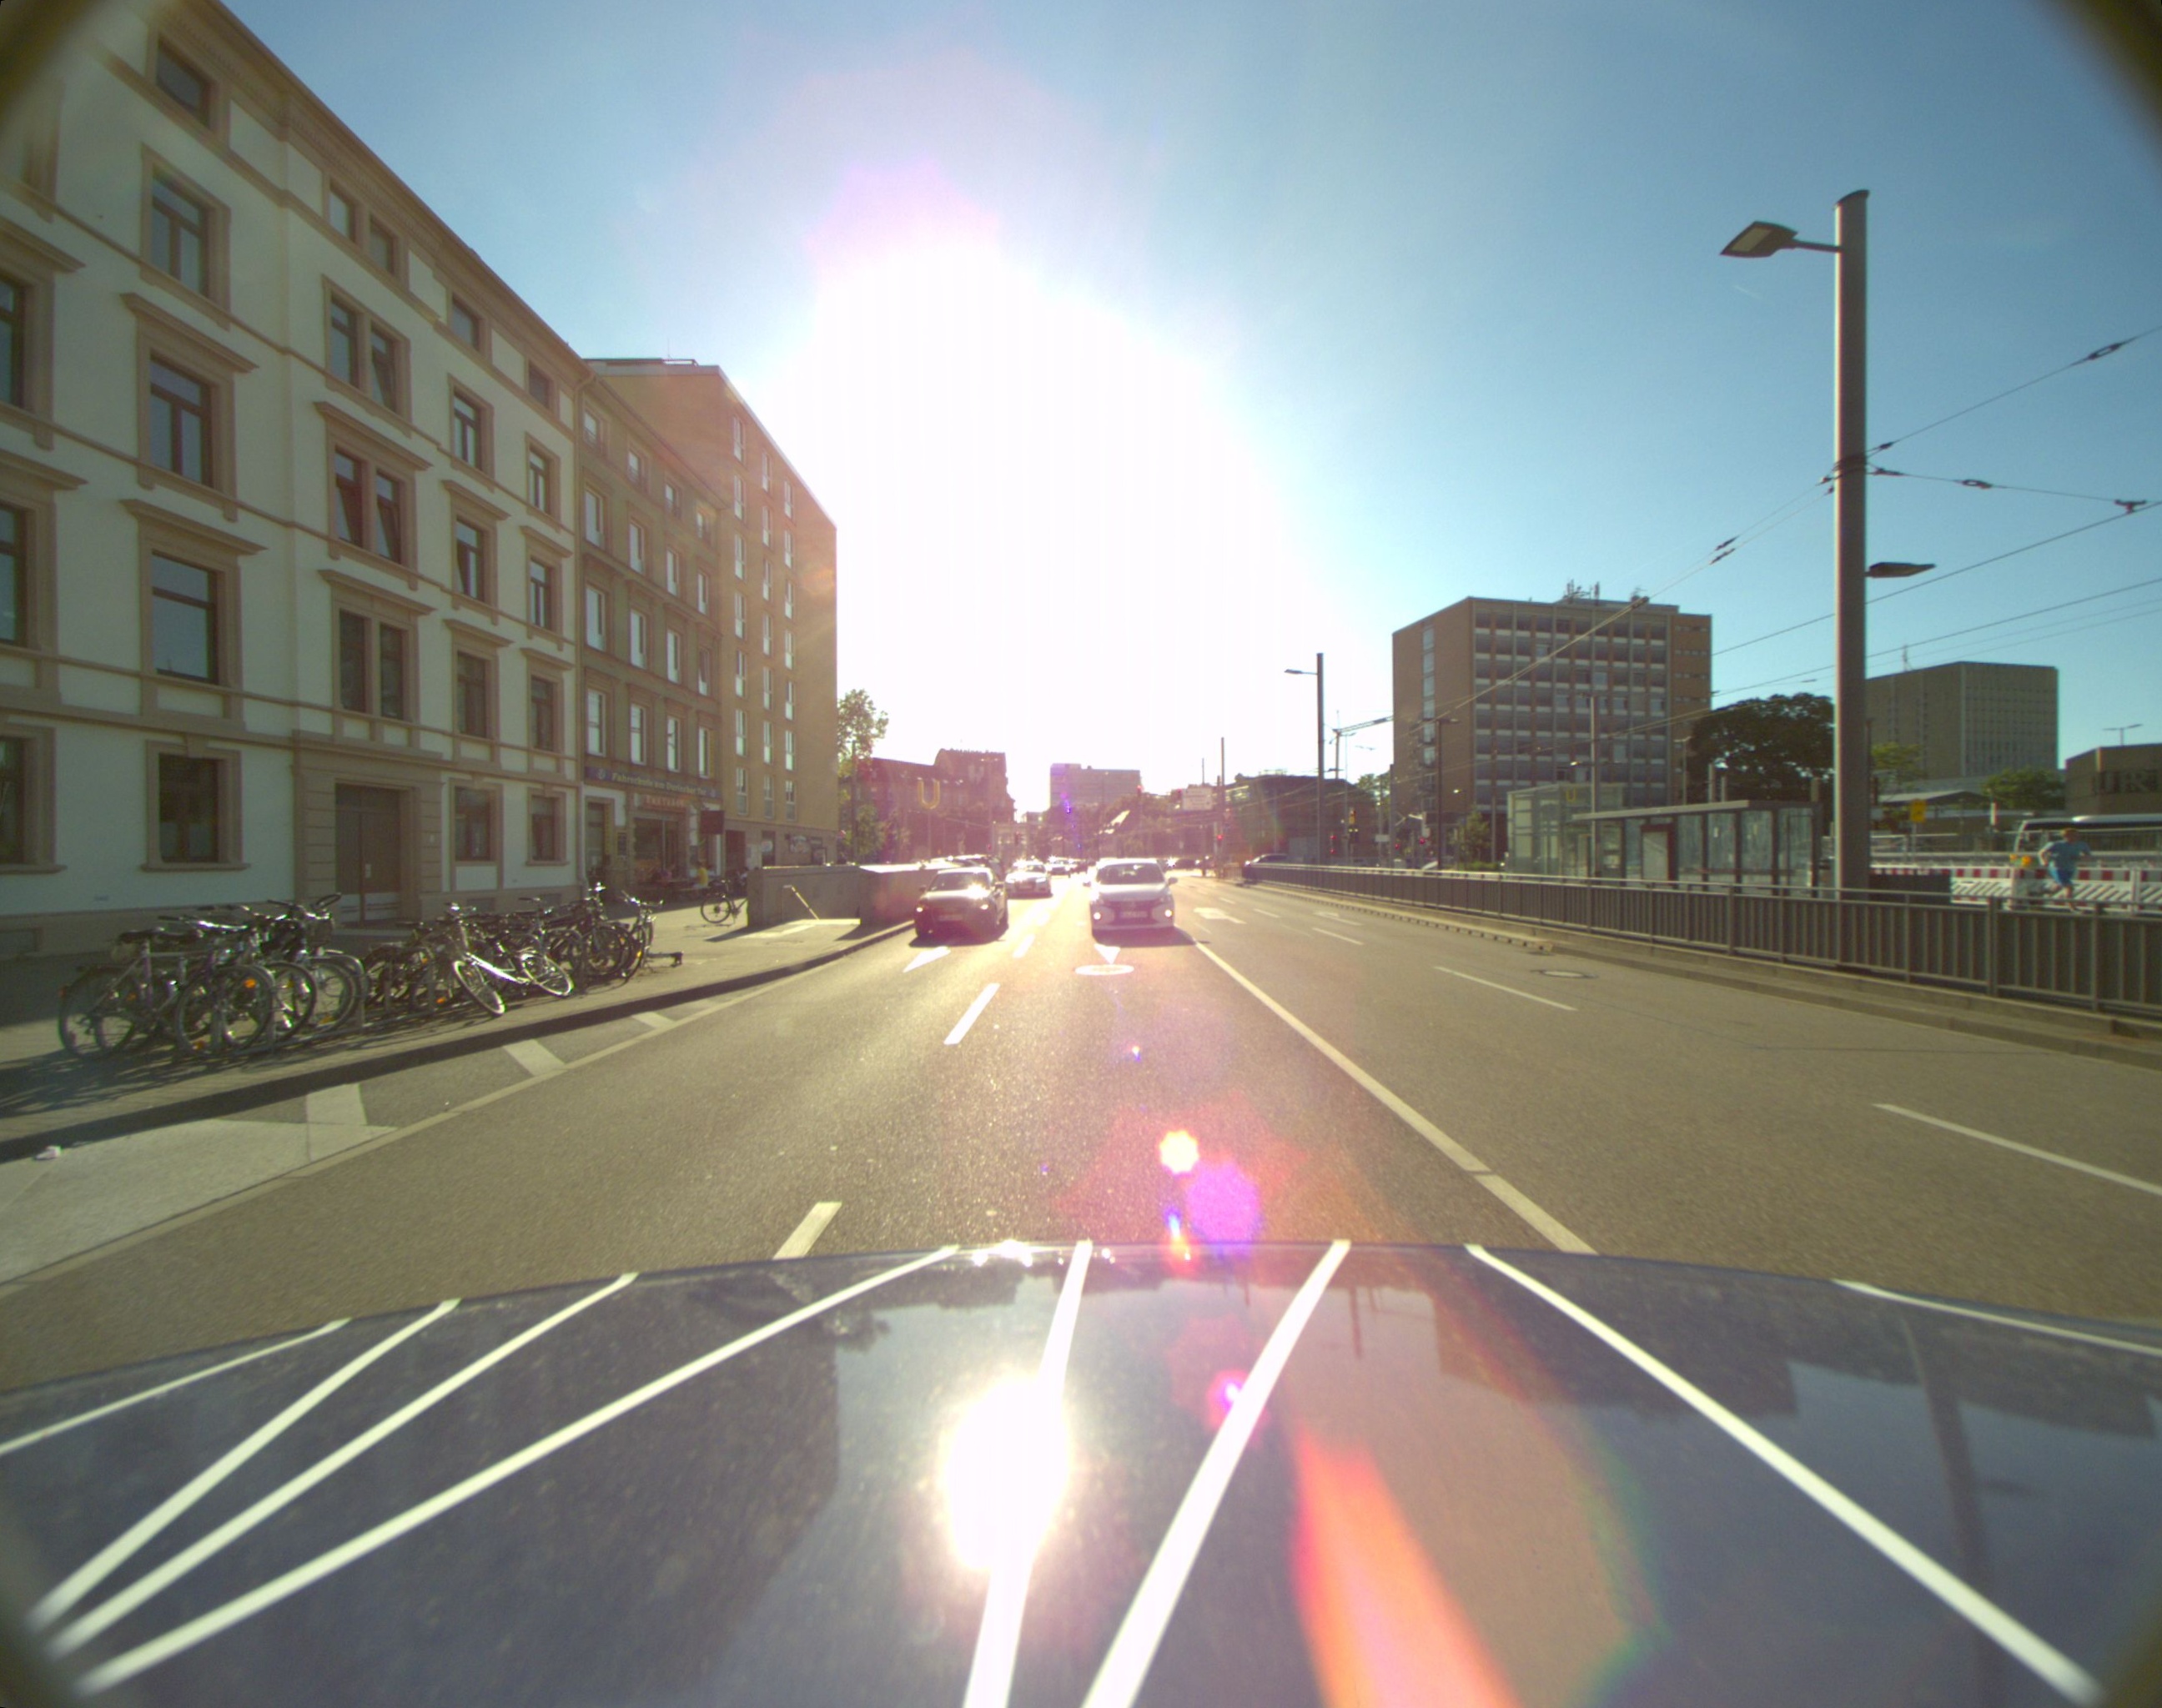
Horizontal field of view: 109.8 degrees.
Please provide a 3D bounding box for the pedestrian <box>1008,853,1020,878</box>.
[{"bbox_3d":[-4.663,0.788,52.579,0.698,1.718,0.752,-1,0,-15],"label":"pedestrian"}]

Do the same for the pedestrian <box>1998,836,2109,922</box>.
[{"bbox_3d":[20.658,0.532,16.171,0.804,1.757,1.180,1,-2,1],"label":"pedestrian"}]

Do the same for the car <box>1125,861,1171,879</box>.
[{"bbox_3d":[6.606,1.564,74.772,4.292,1.666,1.994,-1,0,-40],"label":"car"}]

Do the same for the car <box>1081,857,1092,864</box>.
[{"bbox_3d":[1.260,1.604,183.569,1.757,1.455,4.016,-1,-2,-12],"label":"car"}]

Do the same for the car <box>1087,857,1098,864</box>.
[{"bbox_3d":[2.641,1.483,177.850,1.757,1.455,4.016,-1,-2,-12],"label":"car"}]

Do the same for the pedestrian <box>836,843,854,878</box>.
[{"bbox_3d":[-12.535,0.347,40.322,0.754,1.855,0.830,-1,1,-29],"label":"pedestrian"}]

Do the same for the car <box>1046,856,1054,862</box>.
[{"bbox_3d":[-9.460,1.566,234.779,1.757,1.455,4.016,-1,-2,-12],"label":"car"}]

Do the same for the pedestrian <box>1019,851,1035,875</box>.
[{"bbox_3d":[-3.958,0.666,55.748,0.796,1.718,0.868,-1,0,-31],"label":"pedestrian"}]

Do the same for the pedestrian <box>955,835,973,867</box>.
[{"bbox_3d":[-6.777,-0.177,44.043,0.755,1.855,0.696,-1,1,-41],"label":"pedestrian"}]

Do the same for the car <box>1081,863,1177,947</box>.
[{"bbox_3d":[0.964,0.975,16.054,1.720,1.483,3.871,-2,0,2],"label":"car"}]

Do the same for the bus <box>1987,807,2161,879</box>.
[{"bbox_3d":[50.715,-0.496,34.104,12.626,3.174,2.848,-2,-3,44],"label":"bus"}]

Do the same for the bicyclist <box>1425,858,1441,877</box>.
[{"bbox_3d":[27.302,1.053,58.899,0.814,1.337,0.902,-6,1,10],"label":"bicyclist"}]

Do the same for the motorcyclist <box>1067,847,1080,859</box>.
[{"bbox_3d":[-1.026,-0.126,102.787,1.451,1.657,1.120,0,-2,22],"label":"motorcyclist"}]

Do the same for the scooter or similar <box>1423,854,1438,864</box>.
[{"bbox_3d":[45.185,0.696,98.264,0.801,1.239,1.705,2,-3,-27],"label":"scooter or similar"}]

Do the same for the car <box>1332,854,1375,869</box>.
[{"bbox_3d":[32.395,0.936,90.468,4.698,1.673,2.003,0,-2,16],"label":"car"}]

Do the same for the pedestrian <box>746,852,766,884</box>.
[{"bbox_3d":[-13.622,0.587,31.857,0.516,1.311,0.592,-1,1,8],"label":"pedestrian"}]

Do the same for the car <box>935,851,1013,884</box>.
[{"bbox_3d":[-6.497,0.793,46.331,4.259,1.803,1.955,-2,0,-40],"label":"car"}]

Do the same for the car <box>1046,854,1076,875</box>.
[{"bbox_3d":[-1.420,0.741,56.325,1.782,1.455,3.916,0,1,5],"label":"car"}]

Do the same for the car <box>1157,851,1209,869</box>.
[{"bbox_3d":[11.865,0.732,88.452,5.763,2.001,2.000,1,-2,-3],"label":"car"}]

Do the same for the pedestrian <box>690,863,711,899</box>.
[{"bbox_3d":[-14.188,0.996,28.349,0.516,1.311,0.591,-1,1,-6],"label":"pedestrian"}]

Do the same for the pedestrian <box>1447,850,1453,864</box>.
[{"bbox_3d":[46.797,0.415,96.441,0.623,1.700,0.487,-1,-2,35],"label":"pedestrian"}]

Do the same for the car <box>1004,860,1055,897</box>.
[{"bbox_3d":[-2.105,0.972,32.257,1.825,1.380,4.457,-2,0,0],"label":"car"}]

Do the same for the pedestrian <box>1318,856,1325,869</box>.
[{"bbox_3d":[31.558,1.084,99.666,0.732,1.730,0.622,0,2,11],"label":"pedestrian"}]

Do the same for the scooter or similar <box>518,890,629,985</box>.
[{"bbox_3d":[-7.287,1.177,10.974,1.210,1.209,0.641,-2,2,-26],"label":"scooter or similar"}]

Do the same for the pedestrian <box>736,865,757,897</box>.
[{"bbox_3d":[-13.727,1.103,31.177,0.516,1.311,0.592,-1,1,8],"label":"pedestrian"}]

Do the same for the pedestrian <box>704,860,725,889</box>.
[{"bbox_3d":[-14.982,0.826,31.106,0.516,1.153,0.592,-1,1,8],"label":"pedestrian"}]

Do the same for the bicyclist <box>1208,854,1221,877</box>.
[{"bbox_3d":[9.412,0.794,53.662,0.676,1.607,0.815,1,1,-4],"label":"bicyclist"}]

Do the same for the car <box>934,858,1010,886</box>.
[{"bbox_3d":[-6.165,1.007,43.143,3.900,1.391,1.784,-3,1,-43],"label":"car"}]

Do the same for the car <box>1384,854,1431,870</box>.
[{"bbox_3d":[36.786,0.897,85.728,4.698,1.673,2.003,0,-2,16],"label":"car"}]

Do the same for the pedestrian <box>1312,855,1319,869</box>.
[{"bbox_3d":[30.750,1.066,99.559,0.620,1.730,0.667,1,2,43],"label":"pedestrian"}]

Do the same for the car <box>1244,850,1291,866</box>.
[{"bbox_3d":[20.285,0.435,82.864,4.614,1.679,2.000,-1,0,-1],"label":"car"}]
